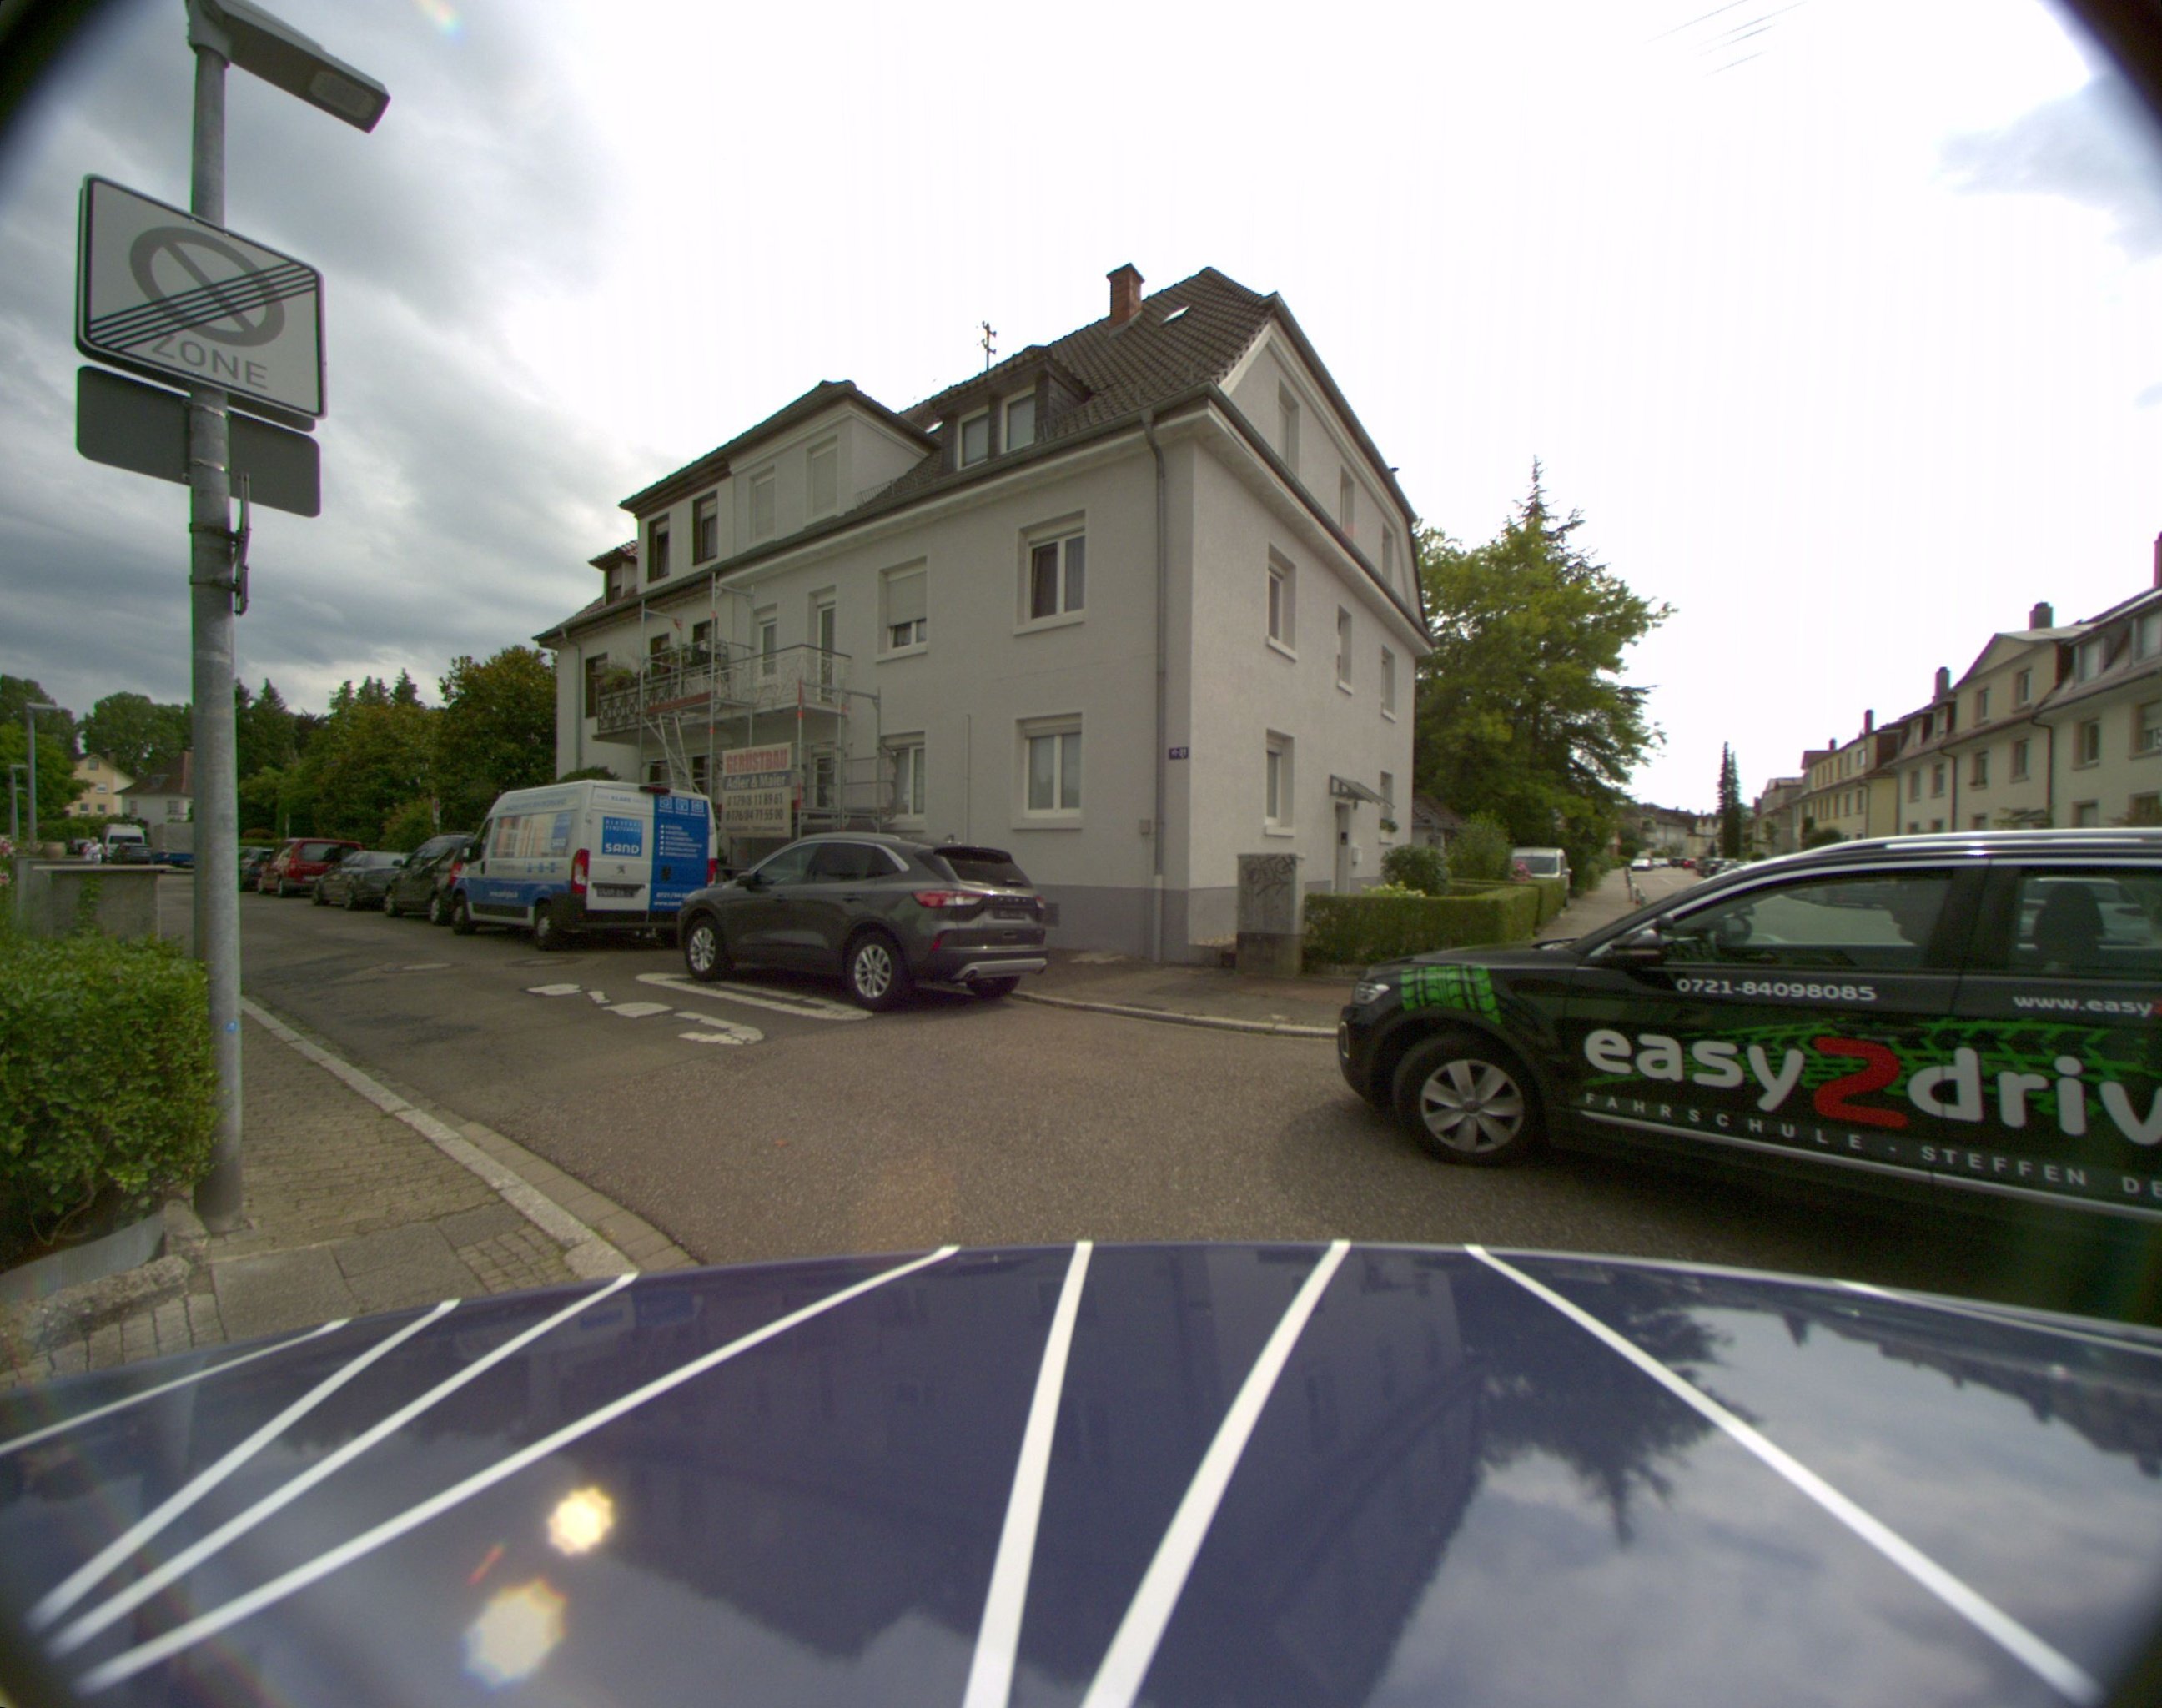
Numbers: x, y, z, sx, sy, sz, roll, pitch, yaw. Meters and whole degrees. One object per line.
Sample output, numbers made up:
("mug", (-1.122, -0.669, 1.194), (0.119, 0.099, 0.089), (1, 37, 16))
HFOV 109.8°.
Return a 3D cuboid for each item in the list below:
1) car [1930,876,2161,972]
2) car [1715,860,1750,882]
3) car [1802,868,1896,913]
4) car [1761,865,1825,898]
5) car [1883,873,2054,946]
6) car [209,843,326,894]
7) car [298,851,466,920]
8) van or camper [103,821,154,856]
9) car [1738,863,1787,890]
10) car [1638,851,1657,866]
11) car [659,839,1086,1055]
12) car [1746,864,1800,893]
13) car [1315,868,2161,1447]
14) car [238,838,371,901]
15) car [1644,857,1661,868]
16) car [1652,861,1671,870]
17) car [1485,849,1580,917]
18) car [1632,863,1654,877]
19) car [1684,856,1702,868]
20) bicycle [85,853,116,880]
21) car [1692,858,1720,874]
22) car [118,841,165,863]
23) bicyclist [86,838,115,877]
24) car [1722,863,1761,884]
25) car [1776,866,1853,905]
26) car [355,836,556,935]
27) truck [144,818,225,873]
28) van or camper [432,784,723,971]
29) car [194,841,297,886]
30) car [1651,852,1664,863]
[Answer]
("car", (18.654, 1.244, 14.899), (1.854, 1.463, 4.184), (1, 1, 37))
("car", (51.924, 1.324, 60.625), (1.854, 1.569, 4.184), (1, 1, 37))
("car", (28.521, 1.283, 28.350), (1.854, 1.463, 4.184), (1, 1, 37))
("car", (34.930, 1.310, 37.378), (1.854, 1.463, 4.184), (1, 1, 37))
("car", (21.598, 1.254, 18.709), (1.854, 1.463, 4.184), (1, 1, 37))
("car", (-27.813, 0.446, 25.957), (4.329, 1.582, 2.004), (1, 1, 33))
("car", (-17.165, 0.682, 18.616), (4.329, 1.447, 2.004), (1, 1, 33))
("van or camper", (-72.713, -1.185, 57.973), (4.999, 2.526, 2.153), (1, 1, 35))
("car", (41.399, 1.335, 46.250), (1.854, 1.463, 4.184), (1, 1, 37))
("car", (78.538, 0.556, 105.383), (1.994, 2.002, 4.009), (1, 1, 38))
("car", (-2.330, 0.731, 8.126), (4.329, 1.717, 2.004), (1, 1, 33))
("car", (38.826, 1.325, 42.713), (1.854, 1.463, 4.184), (1, 1, 37))
("car", (3.222, 0.833, 2.992), (1.826, 1.511, 4.032), (1, -1, -41))
("car", (-23.639, 0.416, 23.113), (4.329, 1.739, 2.004), (1, 1, 33))
("car", (89.126, 1.376, 118.434), (1.994, 1.630, 4.009), (1, 1, 39))
("car", (98.545, 1.946, 128.988), (1.994, 1.527, 4.009), (0, 0, 44))
("car", (13.722, 0.804, 22.992), (1.994, 1.827, 4.009), (1, 1, 37))
("car", (70.968, 2.019, 95.922), (1.994, 1.630, 4.009), (1, 1, 39))
("car", (88.111, 1.130, 109.453), (1.854, 1.569, 4.184), (1, 1, 37))
("bicycle", (-43.004, 0.535, 33.318), (1.867, 1.146, 0.709), (1, 2, 35))
("car", (62.893, 1.164, 76.501), (1.854, 1.569, 4.184), (1, 1, 36))
("car", (-62.483, -0.159, 50.516), (3.988, 1.368, 1.831), (1, 1, 37))
("bicyclist", (-43.104, 0.146, 33.399), (0.972, 1.657, 0.700), (1, 2, 36))
("car", (48.887, 1.427, 56.302), (1.854, 1.463, 4.184), (1, 1, 37))
("car", (31.536, 1.297, 32.793), (1.854, 1.463, 4.184), (1, 1, 37))
("car", (-13.008, 0.549, 15.749), (4.329, 1.762, 2.004), (1, 1, 33))
("truck", (-46.170, -0.453, 39.117), (4.571, 2.642, 2.141), (1, 1, 33))
("van or camper", (-8.243, 0.266, 12.276), (5.039, 2.445, 2.204), (1, 1, 35))
("car", (-32.450, 0.338, 29.495), (4.329, 1.582, 2.004), (1, 1, 33))
("car", (116.501, 0.719, 153.515), (1.994, 2.111, 4.009), (2, 1, 39))
